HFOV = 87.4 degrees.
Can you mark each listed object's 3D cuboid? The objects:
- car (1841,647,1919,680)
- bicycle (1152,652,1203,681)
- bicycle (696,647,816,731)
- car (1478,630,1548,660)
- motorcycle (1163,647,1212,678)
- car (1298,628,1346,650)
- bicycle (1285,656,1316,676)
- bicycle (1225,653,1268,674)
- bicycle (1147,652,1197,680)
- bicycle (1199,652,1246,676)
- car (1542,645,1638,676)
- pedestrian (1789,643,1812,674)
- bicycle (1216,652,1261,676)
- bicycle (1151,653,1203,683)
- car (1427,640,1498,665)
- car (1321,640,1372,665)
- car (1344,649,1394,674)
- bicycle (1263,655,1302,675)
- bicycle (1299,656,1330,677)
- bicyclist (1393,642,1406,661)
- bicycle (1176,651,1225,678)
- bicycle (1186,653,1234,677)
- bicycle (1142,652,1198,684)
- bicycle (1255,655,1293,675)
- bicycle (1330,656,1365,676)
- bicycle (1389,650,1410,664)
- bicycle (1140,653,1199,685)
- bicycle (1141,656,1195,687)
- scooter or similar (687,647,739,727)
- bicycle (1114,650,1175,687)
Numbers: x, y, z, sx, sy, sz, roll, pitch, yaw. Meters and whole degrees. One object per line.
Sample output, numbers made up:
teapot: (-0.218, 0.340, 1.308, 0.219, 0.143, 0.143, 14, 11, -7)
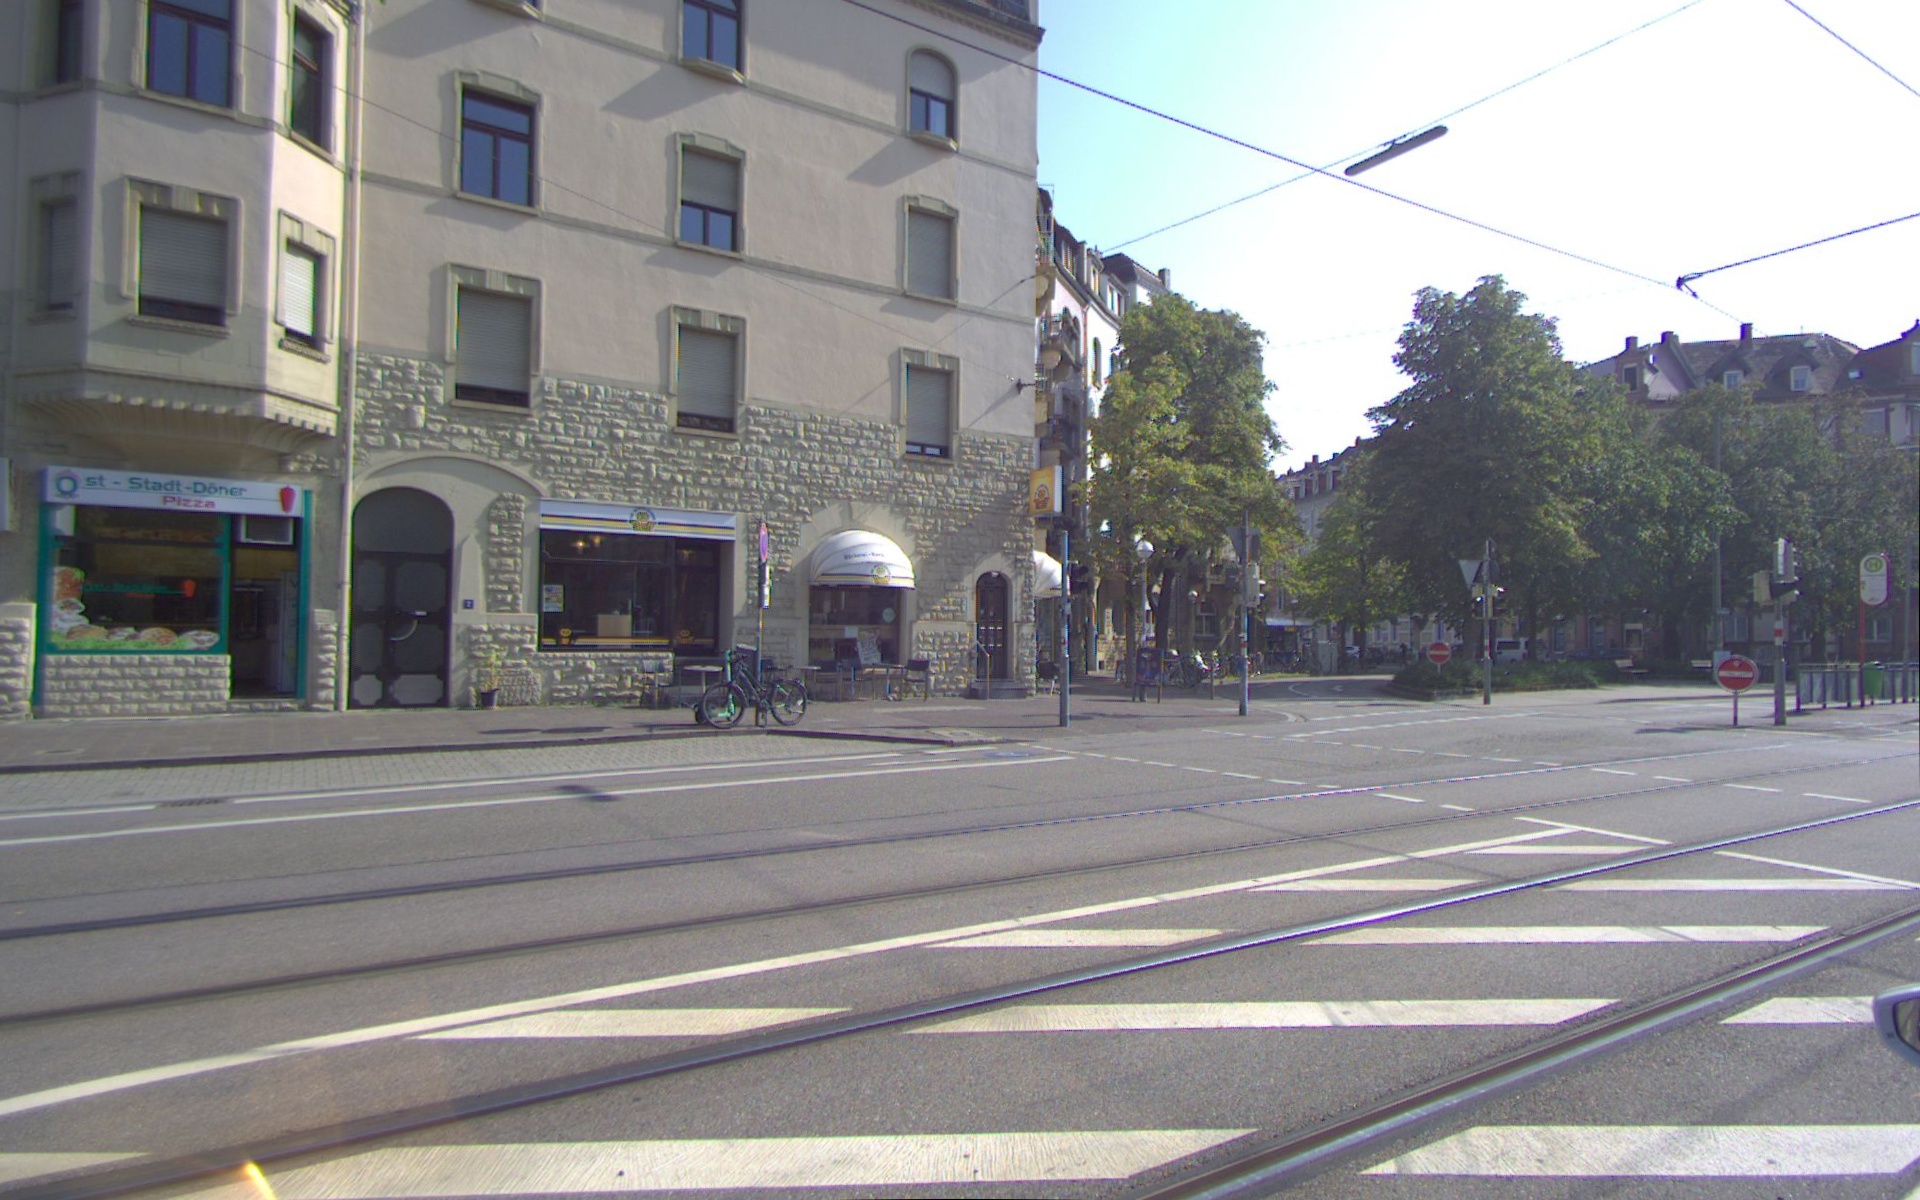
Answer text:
car: (46.257, 3.097, 49.142, 4.251, 1.589, 2.000, 0, -2, 20)
bicycle: (8.051, 2.460, 37.197, 1.769, 0.996, 0.661, 1, -2, 19)
bicycle: (-3.155, 1.354, 15.672, 1.842, 1.242, 0.449, 2, -3, -41)
car: (35.561, 2.903, 64.702, 1.964, 1.852, 3.995, 1, -2, -9)
motorcycle: (9.223, 2.519, 40.740, 1.839, 1.169, 0.607, 0, -2, 26)
car: (31.802, 3.430, 88.293, 1.968, 1.852, 3.985, 1, -2, -18)
bicycle: (16.806, 3.247, 49.514, 1.750, 0.990, 0.422, 2, -2, -32)
bicycle: (13.197, 2.918, 46.289, 1.851, 0.947, 0.635, -1, -3, 42)
bicycle: (8.059, 2.504, 38.211, 1.769, 0.989, 0.661, 1, -2, 19)
bicycle: (11.483, 2.795, 43.904, 1.865, 0.993, 0.686, 0, -2, 26)
car: (34.884, 3.337, 55.704, 4.272, 1.589, 1.990, -1, -3, 41)
pedestrian: (47.190, 3.275, 56.415, 0.756, 1.753, 0.752, 0, -2, 21)
bicycle: (12.457, 2.842, 44.913, 1.865, 0.993, 0.686, 0, -2, 26)
bicycle: (7.771, 2.435, 36.015, 1.769, 0.997, 0.570, 0, -2, 19)
car: (32.463, 3.364, 65.021, 1.964, 1.589, 4.331, 1, -2, -9)
car: (29.898, 4.055, 77.838, 1.964, 1.852, 3.995, 1, -2, -9)
car: (33.116, 4.969, 81.468, 1.964, 1.852, 3.995, 1, -2, -9)
bicycle: (16.247, 3.260, 50.617, 1.742, 0.990, 0.603, -1, -3, 37)
bicycle: (17.484, 3.261, 49.497, 1.750, 0.990, 0.422, 2, -2, -32)
bicyclist: (32.283, 3.791, 73.838, 0.538, 1.345, 0.821, 0, -2, -7)
bicycle: (9.955, 2.657, 41.550, 1.843, 1.041, 0.663, 0, -2, 26)
bicycle: (10.603, 2.759, 42.649, 1.876, 0.947, 0.737, 0, -2, 26)
bicycle: (7.248, 2.325, 34.675, 1.841, 1.047, 0.570, 0, -2, 21)
bicycle: (15.659, 3.240, 50.101, 1.742, 0.990, 0.518, -2, -3, 38)
bicycle: (19.957, 3.369, 51.773, 0.596, 0.990, 1.761, 1, -2, -23)
bicycle: (32.279, 4.198, 73.791, 0.538, 0.970, 1.855, 0, -2, -7)
bicycle: (6.912, 2.271, 33.217, 1.840, 1.016, 0.570, 1, -2, 6)
bicycle: (6.573, 2.253, 31.775, 1.577, 0.932, 0.479, 1, -2, -1)
scooter or similar: (-3.894, 1.349, 15.892, 0.359, 1.213, 1.035, 0, -2, 13)
bicycle: (5.946, 2.212, 32.434, 1.845, 1.127, 0.569, 2, -2, -10)
